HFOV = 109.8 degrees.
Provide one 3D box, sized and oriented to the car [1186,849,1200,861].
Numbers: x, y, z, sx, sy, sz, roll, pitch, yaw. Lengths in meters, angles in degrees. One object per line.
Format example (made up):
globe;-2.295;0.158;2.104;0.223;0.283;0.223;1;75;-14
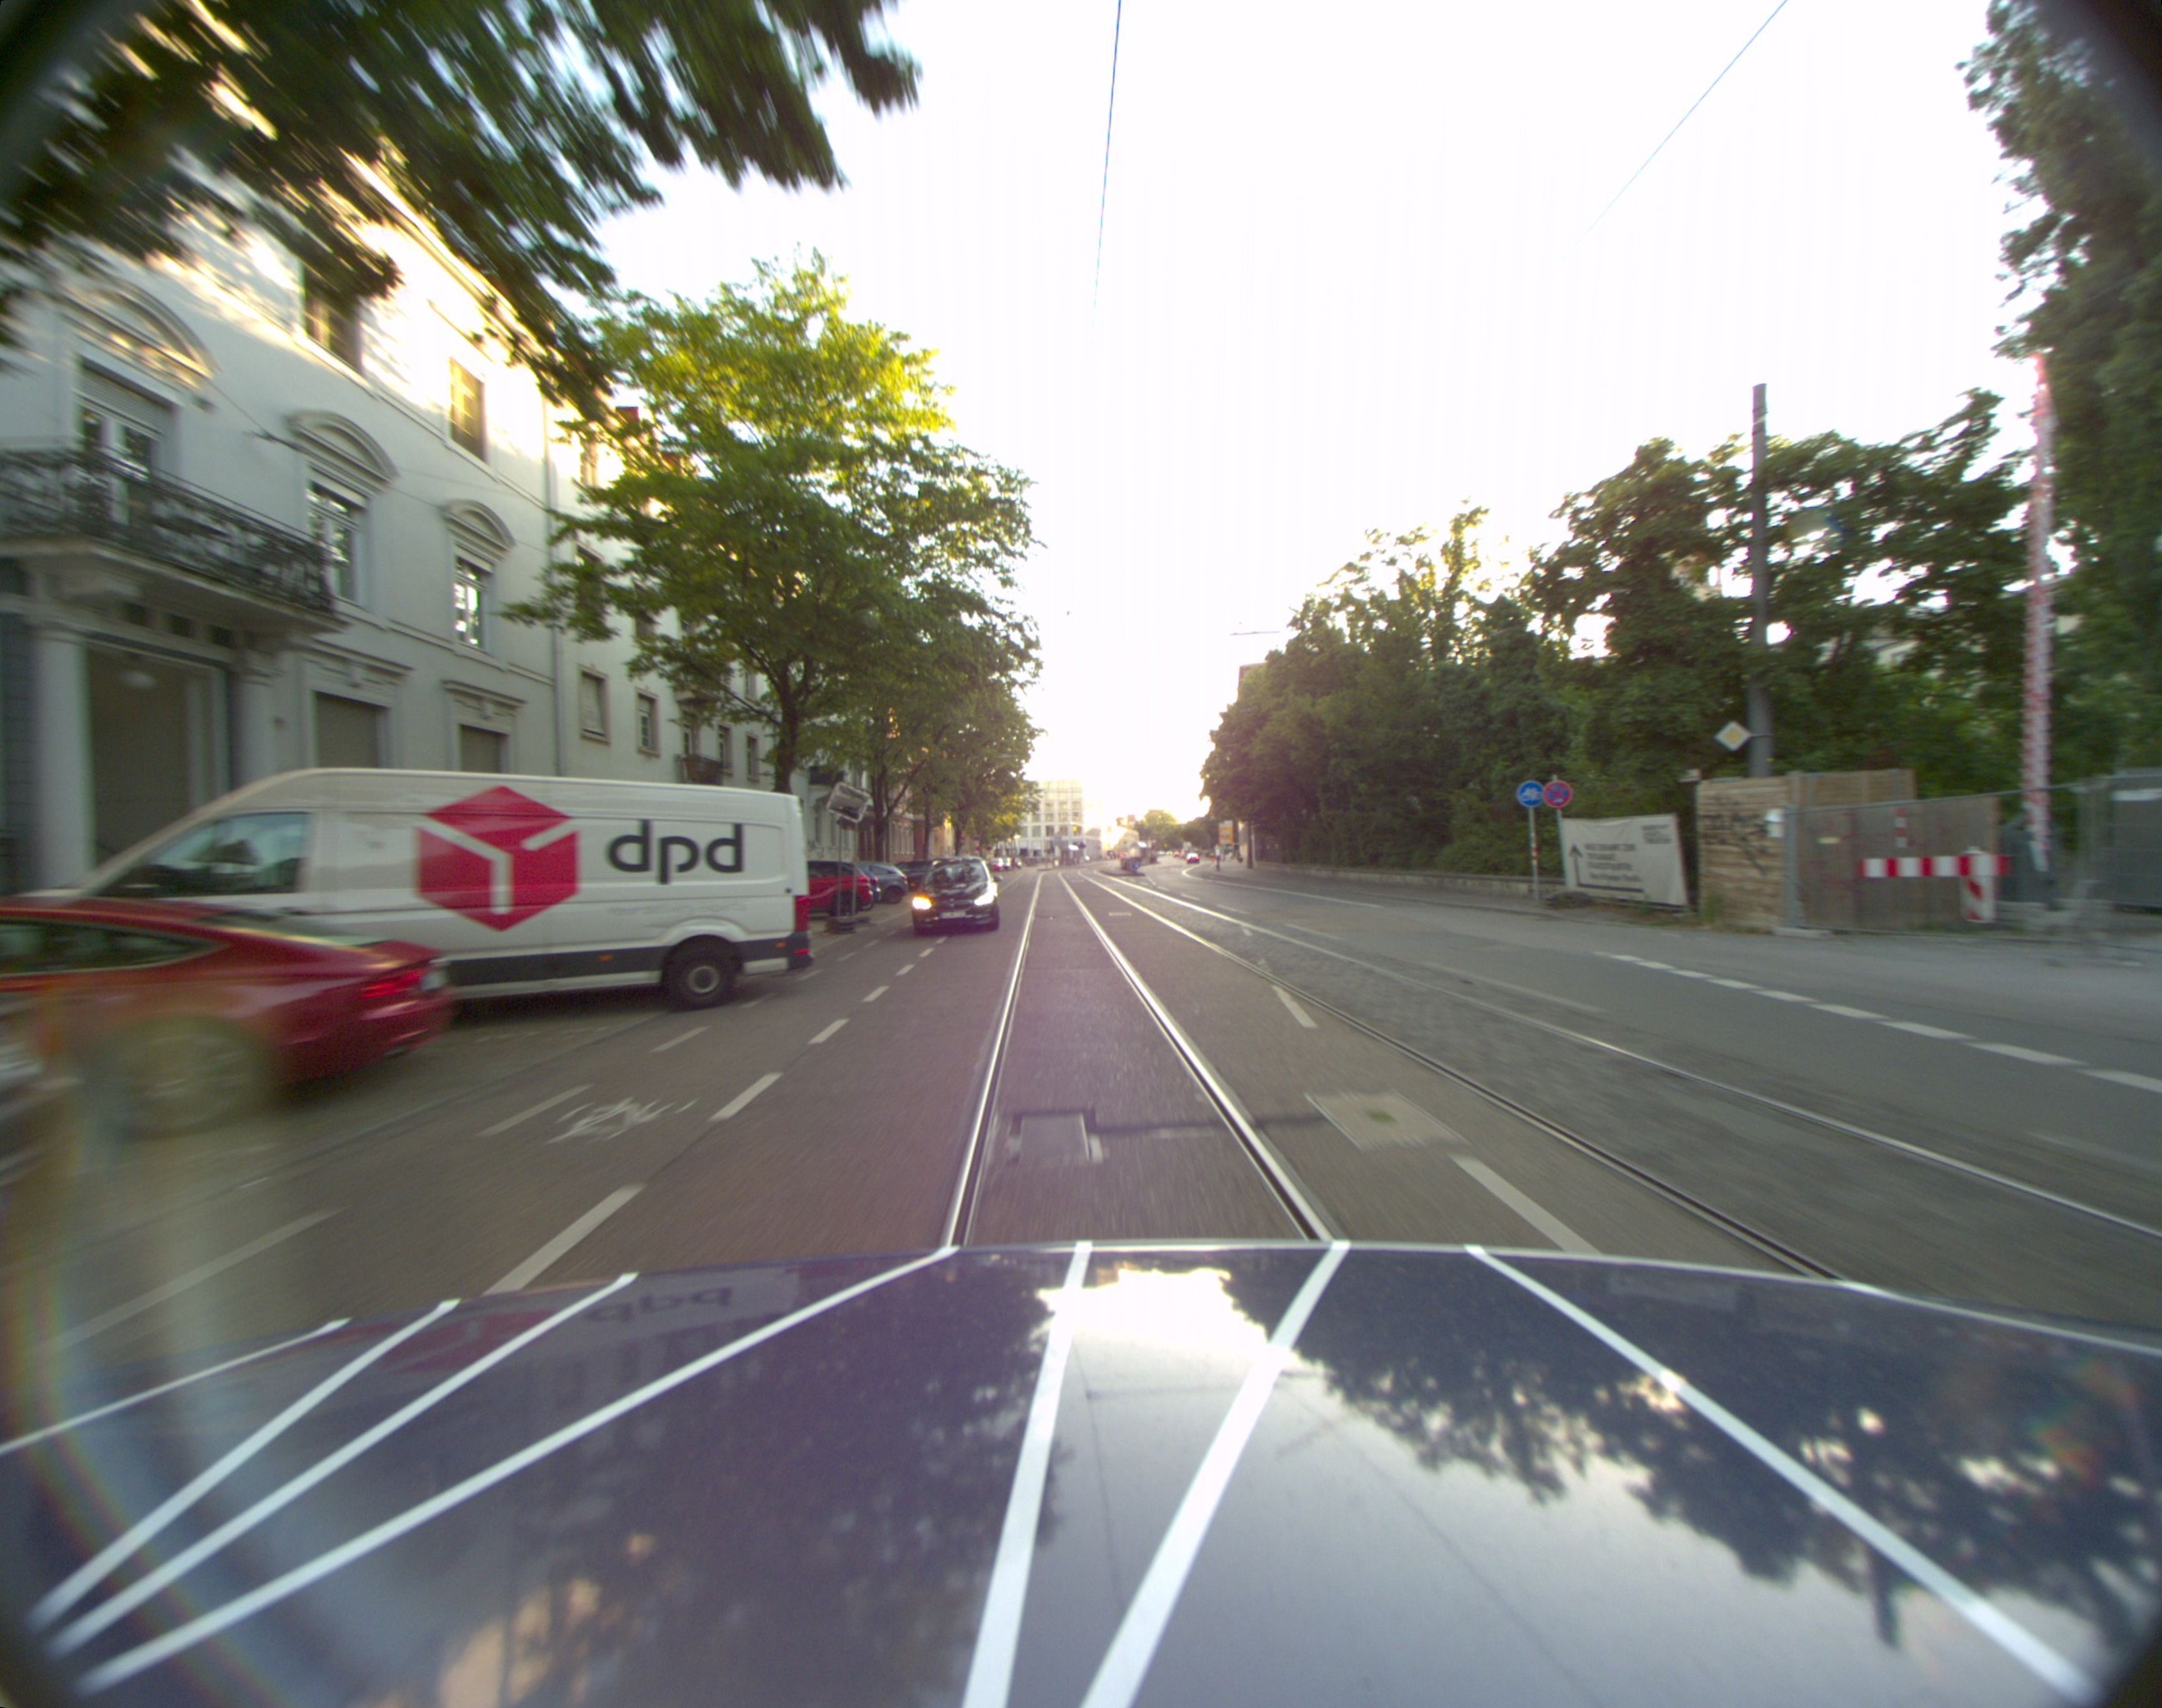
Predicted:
car;17.170;0.135;116.329;1.997;1.674;4.002;-1;0;7

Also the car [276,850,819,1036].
car;-6.885;0.950;10.616;5.650;1.884;2.166;-1;0;-37

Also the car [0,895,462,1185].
car;-6.828;1.068;4.682;4.414;1.436;1.983;0;0;-31

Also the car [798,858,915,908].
car;-7.711;0.969;26.154;3.580;1.536;1.381;-1;0;-31

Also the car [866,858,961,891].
car;-7.901;0.954;35.855;4.215;1.494;1.741;0;0;-19

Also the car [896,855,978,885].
car;-8.084;0.880;42.765;4.218;1.600;1.699;0;0;-31

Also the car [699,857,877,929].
car;-7.674;0.958;19.988;4.126;1.631;1.739;-1;0;-29

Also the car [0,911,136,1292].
car;-6.379;0.994;1.921;4.616;1.504;1.858;1;-1;-31

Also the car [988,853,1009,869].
car;-9.095;0.734;83.712;1.742;1.600;3.822;-2;0;2

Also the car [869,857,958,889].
car;-8.448;0.927;38.213;4.215;1.494;1.741;0;0;-19

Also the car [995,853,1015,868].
car;-8.853;0.731;88.981;1.742;1.600;3.822;-2;0;2

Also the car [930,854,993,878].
car;-8.906;0.881;56.704;4.218;1.600;1.739;-2;0;-31

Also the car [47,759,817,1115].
car;-6.110;0.583;8.275;5.650;2.678;2.166;-2;0;-37

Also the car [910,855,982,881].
car;-8.620;0.859;48.708;4.218;1.600;1.739;0;0;-31

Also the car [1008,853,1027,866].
car;-8.511;0.681;101.543;1.953;1.600;4.272;-2;0;2

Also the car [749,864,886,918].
car;-7.902;1.067;22.899;3.581;1.401;1.517;-2;0;-37

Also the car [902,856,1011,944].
car;-2.716;0.930;17.474;1.840;1.631;4.167;-5;0;-2

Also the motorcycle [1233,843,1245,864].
motorcycle;18.007;-0.059;86.566;1.022;2.429;2.668;-2;0;6
